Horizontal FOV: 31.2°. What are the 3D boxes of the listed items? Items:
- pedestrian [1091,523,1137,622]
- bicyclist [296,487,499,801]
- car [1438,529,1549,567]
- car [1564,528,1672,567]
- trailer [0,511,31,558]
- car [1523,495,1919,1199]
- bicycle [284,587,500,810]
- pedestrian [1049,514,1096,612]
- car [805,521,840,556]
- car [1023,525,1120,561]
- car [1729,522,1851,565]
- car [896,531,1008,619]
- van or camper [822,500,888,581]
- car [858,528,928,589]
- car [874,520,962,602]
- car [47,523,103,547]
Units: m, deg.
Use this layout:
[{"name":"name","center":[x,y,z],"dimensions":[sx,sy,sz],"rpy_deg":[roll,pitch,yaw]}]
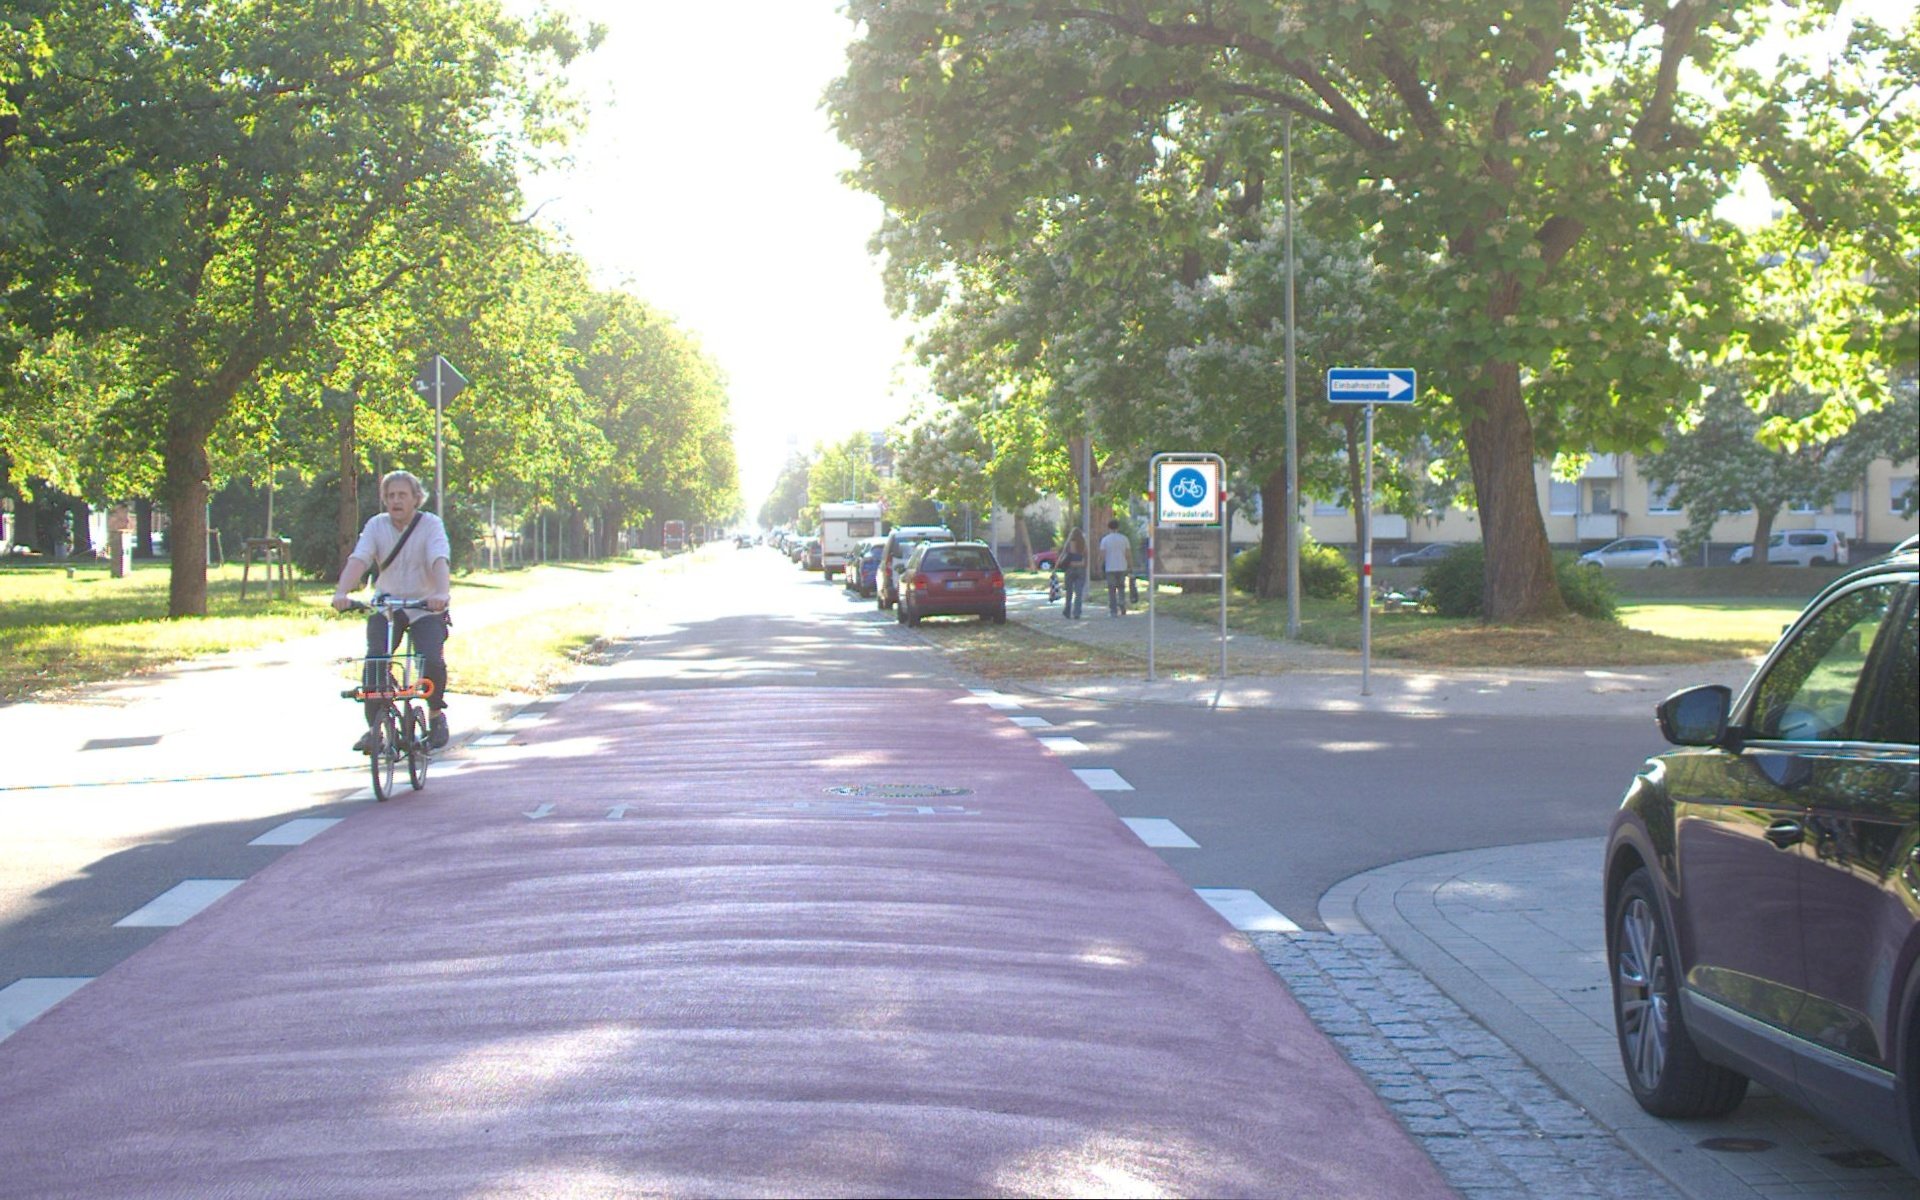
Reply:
[{"name":"pedestrian","center":[2.734,-0.486,60.954],"dimensions":[0.725,1.730,0.732],"rpy_deg":[1,1,-3]},{"name":"bicyclist","center":[-3.118,0.230,19.123],"dimensions":[0.937,1.697,0.905],"rpy_deg":[0,1,3]},{"name":"car","center":[22.871,-2.220,147.336],"dimensions":[4.514,1.564,1.879],"rpy_deg":[0,1,16]},{"name":"car","center":[26.604,-2.104,139.022],"dimensions":[3.992,1.546,1.608],"rpy_deg":[0,1,24]},{"name":"trailer","center":[-52.638,-3.554,187.192],"dimensions":[2.459,2.480,7.050],"rpy_deg":[0,1,-3]},{"name":"car","center":[2.621,0.594,7.775],"dimensions":[1.703,1.620,4.349],"rpy_deg":[-2,2,-3]},{"name":"bicycle","center":[-3.118,0.513,19.076],"dimensions":[0.738,1.131,2.104],"rpy_deg":[0,1,3]},{"name":"pedestrian","center":[1.995,-0.660,60.916],"dimensions":[0.753,1.730,0.732],"rpy_deg":[1,1,-3]},{"name":"car","center":[-6.788,-3.020,169.390],"dimensions":[1.626,1.663,4.250],"rpy_deg":[0,1,-4]},{"name":"car","center":[4.875,-2.489,150.535],"dimensions":[4.195,1.525,2.000],"rpy_deg":[0,1,1]},{"name":"car","center":[34.245,-2.320,141.832],"dimensions":[4.519,1.740,1.877],"rpy_deg":[0,1,32]},{"name":"car","center":[-0.177,-0.459,61.220],"dimensions":[1.678,1.481,4.810],"rpy_deg":[0,1,-4]},{"name":"van or camper","center":[-3.944,-2.184,128.293],"dimensions":[2.234,2.894,5.673],"rpy_deg":[0,0,-4]},{"name":"car","center":[-1.793,-1.100,90.700],"dimensions":[1.731,1.545,4.276],"rpy_deg":[0,1,-2]},{"name":"car","center":[-0.943,-0.853,75.302],"dimensions":[1.678,1.734,4.514],"rpy_deg":[0,1,-4]},{"name":"car","center":[-56.007,-4.091,217.663],"dimensions":[2.507,1.503,4.913],"rpy_deg":[0,1,-3]}]
